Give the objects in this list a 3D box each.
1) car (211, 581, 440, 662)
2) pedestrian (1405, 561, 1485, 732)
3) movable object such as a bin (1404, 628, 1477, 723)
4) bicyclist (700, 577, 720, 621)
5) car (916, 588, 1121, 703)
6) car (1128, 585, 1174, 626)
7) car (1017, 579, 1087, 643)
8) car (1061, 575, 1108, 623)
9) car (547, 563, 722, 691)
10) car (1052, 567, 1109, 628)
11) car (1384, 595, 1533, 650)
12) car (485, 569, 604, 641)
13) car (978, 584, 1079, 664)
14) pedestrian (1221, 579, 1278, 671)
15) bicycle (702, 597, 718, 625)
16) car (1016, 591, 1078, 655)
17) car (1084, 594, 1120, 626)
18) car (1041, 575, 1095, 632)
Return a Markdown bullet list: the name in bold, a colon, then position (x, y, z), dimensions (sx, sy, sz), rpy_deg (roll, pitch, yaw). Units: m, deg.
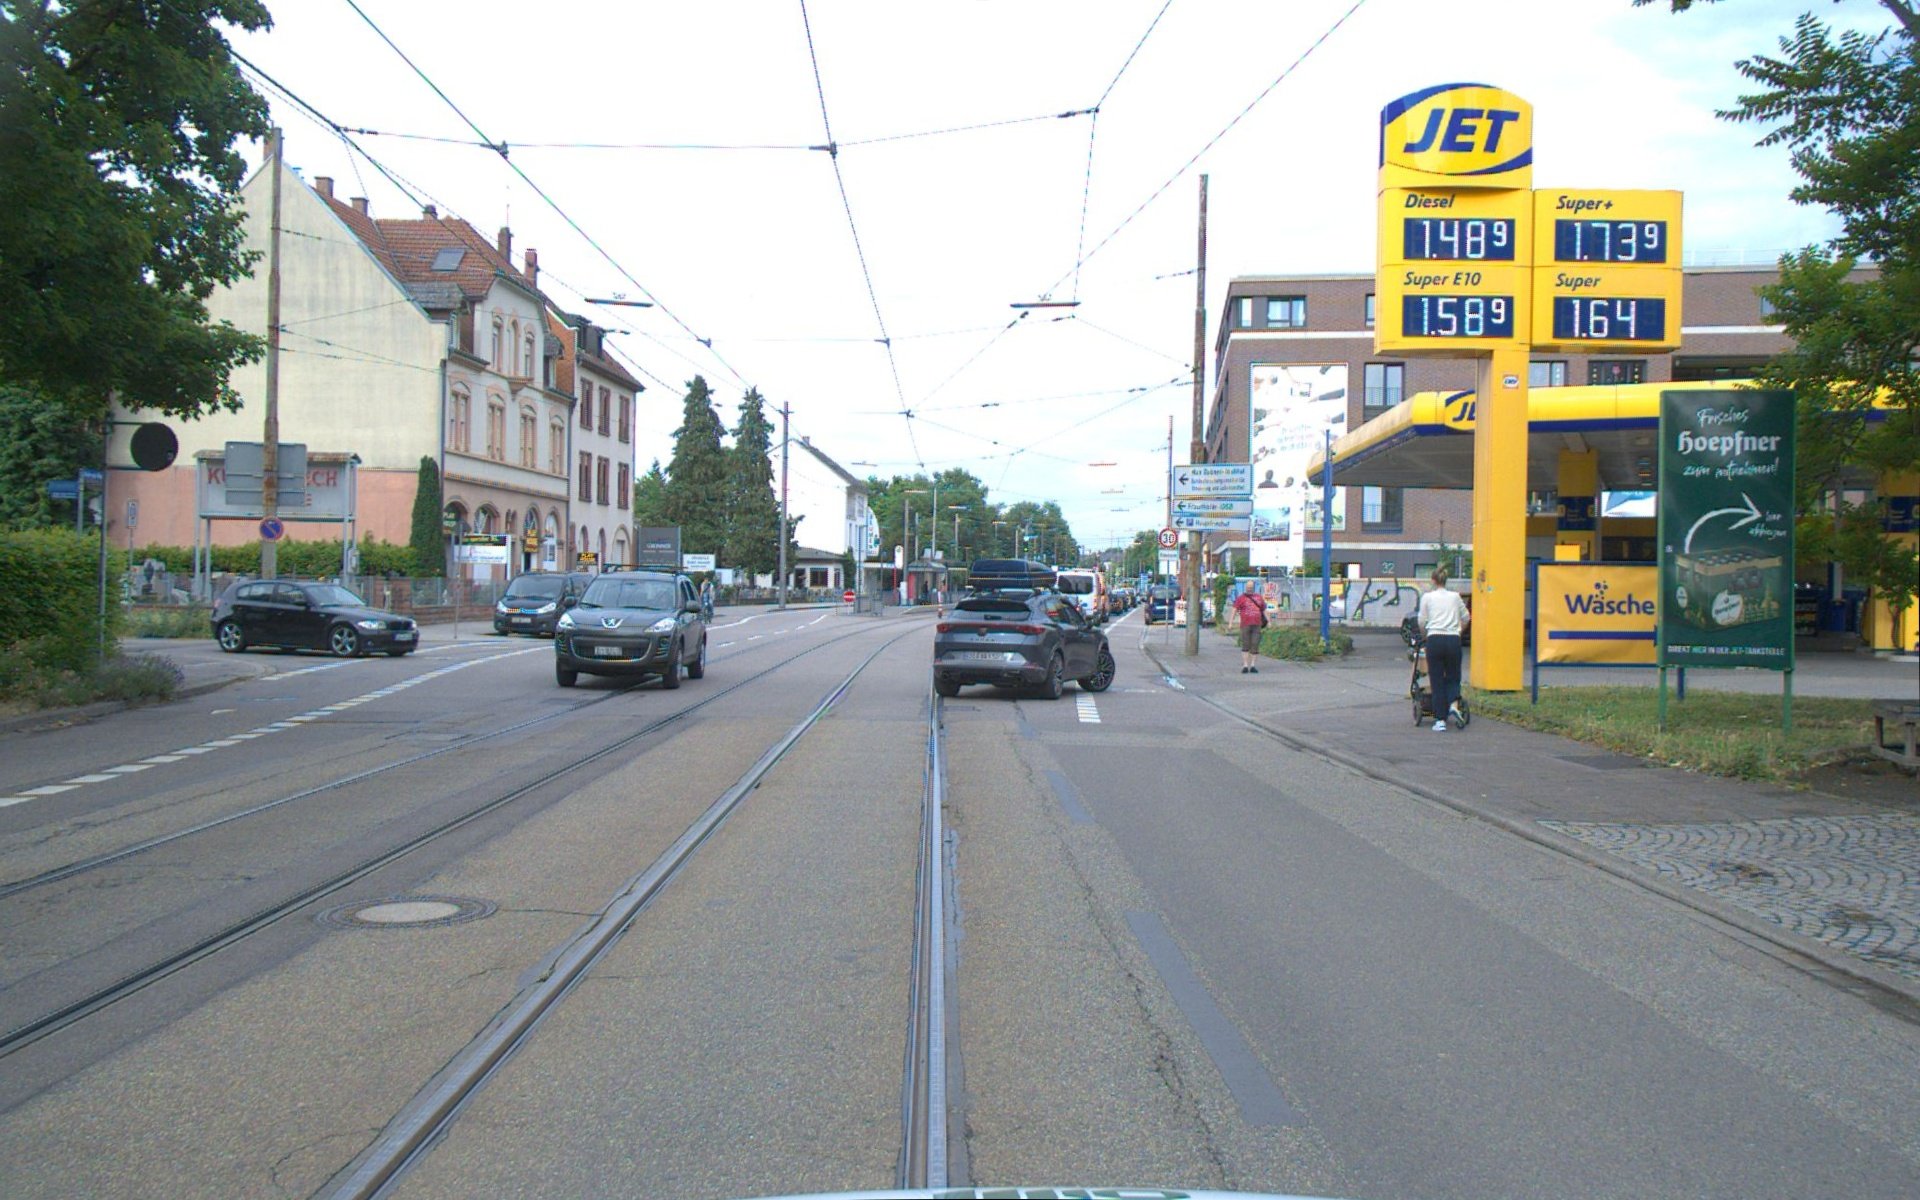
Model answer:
- **car**: position (-12.108, 0.384, 31.600), dimensions (3.838, 1.412, 1.802), rpy_deg (1, 0, 20)
- **pedestrian**: position (5.374, 0.503, 18.376), dimensions (0.751, 1.828, 1.163), rpy_deg (-1, 0, 14)
- **movable object such as a bin**: position (5.614, 0.871, 19.368), dimensions (0.751, 1.057, 1.025), rpy_deg (-1, 0, 14)
- **bicyclist**: position (-10.100, -0.051, 66.794), dimensions (0.722, 1.780, 0.976), rpy_deg (0, 0, -11)
- **car**: position (0.980, 0.613, 24.632), dimensions (1.948, 1.523, 4.328), rpy_deg (1, 0, 18)
- **car**: position (9.217, 0.257, 80.009), dimensions (1.835, 1.855, 4.097), rpy_deg (2, 0, 2)
- **car**: position (2.754, 0.322, 50.129), dimensions (1.928, 1.787, 3.838), rpy_deg (2, 0, 1)
- **car**: position (6.055, -0.039, 81.144), dimensions (2.095, 2.183, 4.745), rpy_deg (2, 0, 3)
- **car**: position (-4.833, 0.374, 25.157), dimensions (1.790, 1.768, 4.335), rpy_deg (0, 0, 0)
- **car**: position (5.175, -0.095, 71.767), dimensions (2.170, 2.465, 4.952), rpy_deg (2, 0, 2)
- **car**: position (14.097, 0.597, 47.119), dimensions (1.913, 1.452, 4.870), rpy_deg (0, 0, -13)
- **car**: position (-12.046, 0.159, 48.286), dimensions (1.950, 1.920, 4.999), rpy_deg (2, 0, 2)
- **car**: position (1.438, 0.475, 36.190), dimensions (1.941, 1.577, 4.183), rpy_deg (2, 0, 0)
- **pedestrian**: position (5.658, 0.485, 32.327), dimensions (0.951, 1.769, 0.861), rpy_deg (-1, -1, 2)
- **bicycle**: position (-10.096, 0.436, 66.792), dimensions (0.576, 1.092, 1.952), rpy_deg (0, 0, -11)
- **car**: position (2.964, 0.779, 57.073), dimensions (1.952, 2.049, 4.001), rpy_deg (2, 0, 2)
- **car**: position (9.408, 0.669, 110.024), dimensions (1.953, 2.049, 3.999), rpy_deg (2, 0, -1)
- **car**: position (4.174, 0.149, 64.262), dimensions (1.952, 2.049, 4.001), rpy_deg (2, 0, 3)
